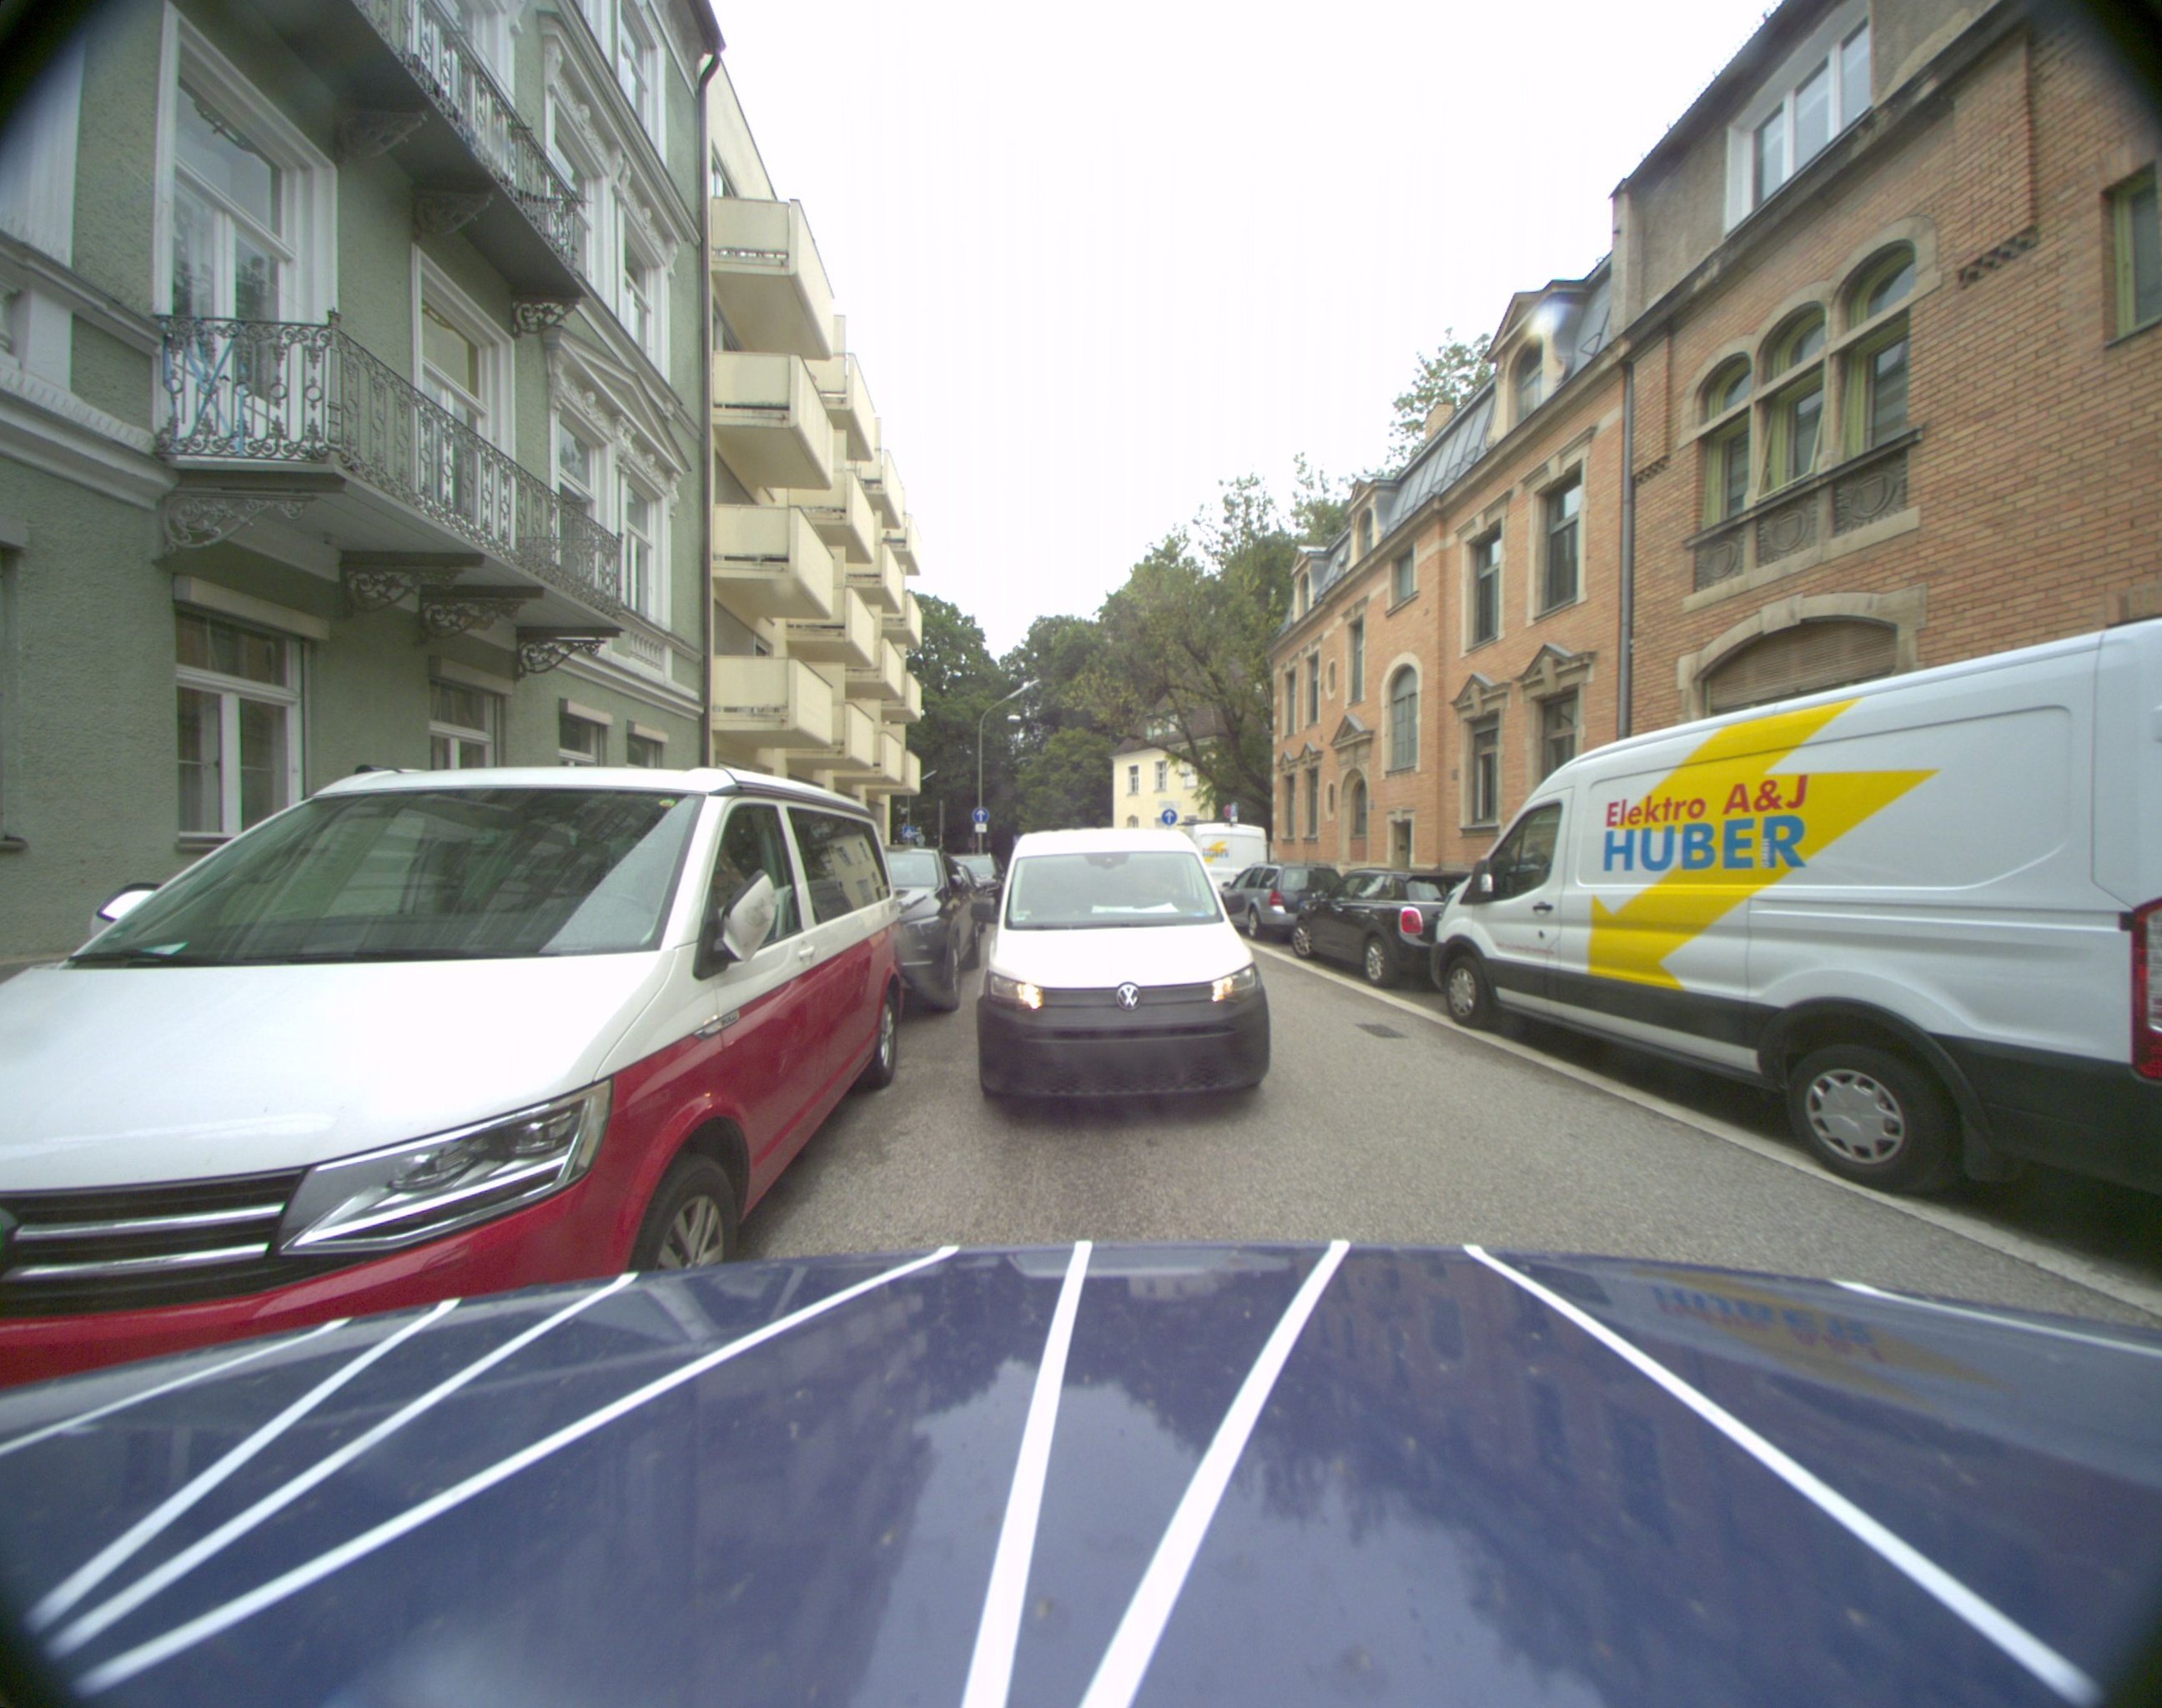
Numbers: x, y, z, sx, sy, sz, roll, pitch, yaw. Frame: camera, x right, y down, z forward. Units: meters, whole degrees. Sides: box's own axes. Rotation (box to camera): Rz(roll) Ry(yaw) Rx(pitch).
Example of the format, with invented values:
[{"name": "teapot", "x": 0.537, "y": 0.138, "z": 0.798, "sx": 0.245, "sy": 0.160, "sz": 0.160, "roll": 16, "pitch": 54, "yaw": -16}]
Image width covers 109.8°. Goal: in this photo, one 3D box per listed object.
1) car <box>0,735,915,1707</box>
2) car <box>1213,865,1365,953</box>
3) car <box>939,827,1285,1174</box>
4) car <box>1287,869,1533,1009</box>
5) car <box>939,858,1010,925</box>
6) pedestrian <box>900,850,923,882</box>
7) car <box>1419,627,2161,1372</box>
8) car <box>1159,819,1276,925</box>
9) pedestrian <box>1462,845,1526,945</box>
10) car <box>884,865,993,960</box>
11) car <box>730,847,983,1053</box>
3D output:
[{"name": "car", "x": -2.199, "y": 0.749, "z": 3.724, "sx": 1.858, "sy": 1.885, "sz": 4.590, "roll": -2, "pitch": 0, "yaw": -2}, {"name": "car", "x": 3.984, "y": 0.994, "z": 15.245, "sx": 1.695, "sy": 1.434, "sz": 3.982, "roll": 2, "pitch": 0, "yaw": -4}, {"name": "car", "x": 0.088, "y": 0.743, "z": 5.907, "sx": 1.776, "sy": 1.761, "sz": 3.999, "roll": 0, "pitch": 0, "yaw": -2}, {"name": "car", "x": 4.103, "y": 0.976, "z": 10.126, "sx": 1.527, "sy": 1.434, "sz": 3.539, "roll": 2, "pitch": 0, "yaw": -4}, {"name": "car", "x": -2.786, "y": 0.928, "z": 20.593, "sx": 1.551, "sy": 1.562, "sz": 3.976, "roll": -2, "pitch": 0, "yaw": -4}, {"name": "pedestrian", "x": -9.643, "y": 0.677, "z": 43.186, "sx": 1.078, "sy": 1.789, "sz": 1.091, "roll": -3, "pitch": 1, "yaw": -20}, {"name": "car", "x": 4.472, "y": 0.484, "z": 4.912, "sx": 1.987, "sy": 2.463, "sz": 5.221, "roll": 1, "pitch": 0, "yaw": -3}, {"name": "car", "x": 3.598, "y": 0.462, "z": 20.976, "sx": 2.119, "sy": 2.525, "sz": 4.420, "roll": 3, "pitch": 0, "yaw": -3}, {"name": "pedestrian", "x": 6.940, "y": 0.671, "z": 12.784, "sx": 0.634, "sy": 1.623, "sz": 0.675, "roll": 2, "pitch": 1, "yaw": -3}, {"name": "car", "x": -2.619, "y": 1.007, "z": 14.742, "sx": 1.551, "sy": 1.488, "sz": 3.976, "roll": -2, "pitch": 0, "yaw": -4}, {"name": "car", "x": -2.269, "y": 0.857, "z": 9.000, "sx": 1.832, "sy": 1.747, "sz": 4.552, "roll": -2, "pitch": 0, "yaw": -4}]
